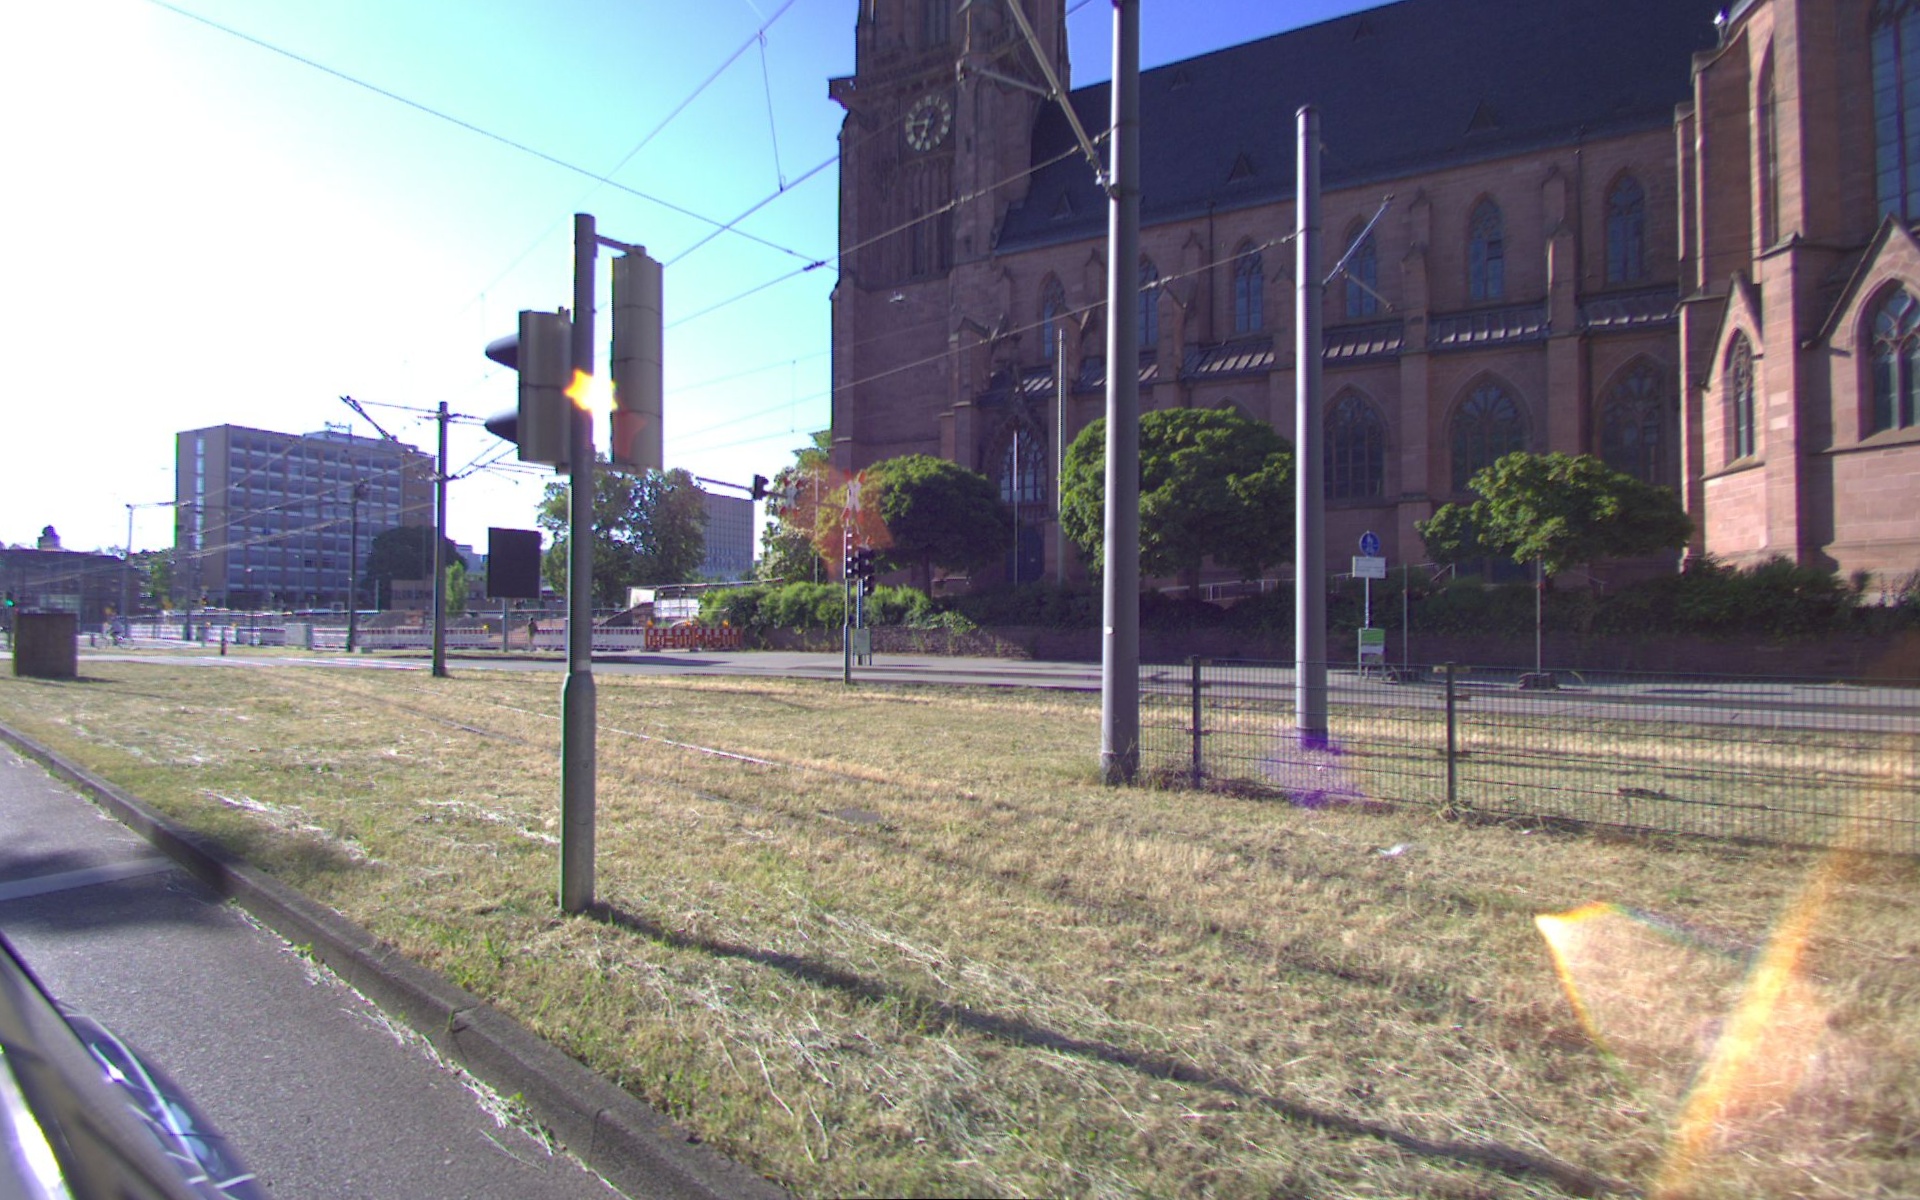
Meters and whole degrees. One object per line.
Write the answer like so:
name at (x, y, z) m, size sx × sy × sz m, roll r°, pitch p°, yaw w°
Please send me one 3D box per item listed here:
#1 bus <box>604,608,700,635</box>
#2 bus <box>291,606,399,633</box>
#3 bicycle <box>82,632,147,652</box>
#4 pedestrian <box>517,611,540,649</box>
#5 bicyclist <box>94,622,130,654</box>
bus at (-42.933, 3.008, 141.344) m, size 12.465 × 3.219 × 3.255 m, roll -1°, pitch -4°, yaw -6°
bus at (-83.102, 2.625, 136.847) m, size 12.465 × 3.219 × 2.845 m, roll -1°, pitch -4°, yaw -6°
bicycle at (-49.393, 2.471, 59.144) m, size 0.959 × 1.105 × 2.802 m, roll -4°, pitch -3°, yaw 22°
pedestrian at (-20.678, 1.462, 48.499) m, size 0.862 × 1.787 × 0.721 m, roll -5°, pitch -5°, yaw 37°
bicyclist at (-49.458, 2.237, 59.038) m, size 0.959 × 1.823 × 1.309 m, roll -4°, pitch -3°, yaw 23°
